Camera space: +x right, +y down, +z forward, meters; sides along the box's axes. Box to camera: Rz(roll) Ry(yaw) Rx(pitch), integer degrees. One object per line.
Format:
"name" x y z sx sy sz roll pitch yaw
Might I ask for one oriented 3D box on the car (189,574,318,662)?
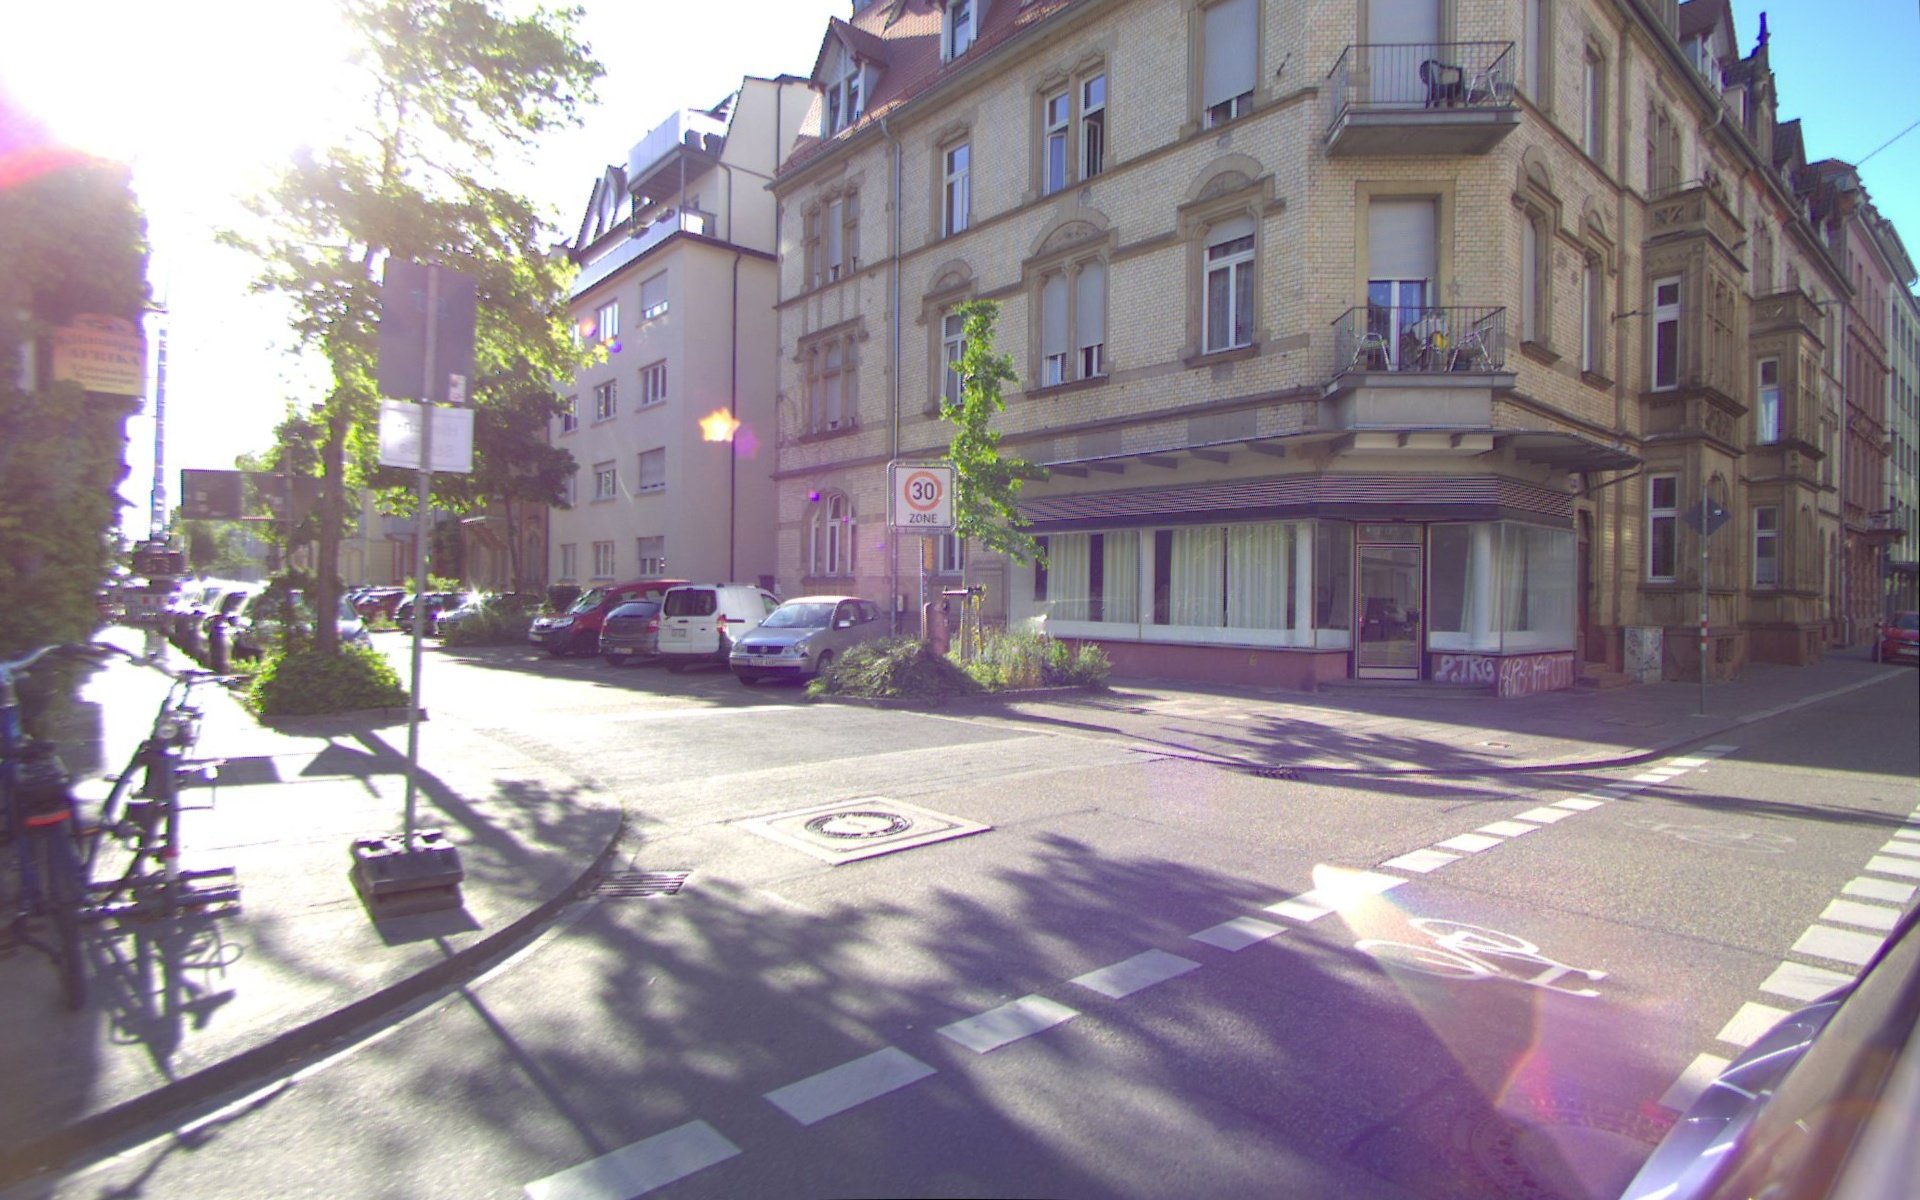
"car" -13.298 0.302 18.961 1.682 1.471 3.995 0 0 -39

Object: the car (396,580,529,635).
"car" -17.603 0.238 35.947 1.762 1.817 3.904 -1 0 37

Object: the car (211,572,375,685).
"car" -10.195 0.374 15.337 1.682 1.471 3.995 0 0 -39

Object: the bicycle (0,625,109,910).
"bicycle" -4.461 0.709 4.771 0.518 1.141 1.561 0 0 -34

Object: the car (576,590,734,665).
"car" -6.799 0.559 22.893 1.749 1.551 3.510 -1 0 18

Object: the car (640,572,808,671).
"car" -4.772 0.409 21.002 1.749 1.853 3.718 -1 0 18

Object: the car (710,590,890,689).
"car" -2.712 0.620 17.914 1.749 1.551 3.510 -1 0 18

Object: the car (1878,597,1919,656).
"car" 27.339 0.730 28.360 4.325 1.501 1.869 0 3 -42

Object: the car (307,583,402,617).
"car" -30.632 0.009 51.250 3.890 1.652 1.768 0 0 -43

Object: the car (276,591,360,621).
"car" -37.621 0.338 59.350 3.890 1.652 1.768 0 0 -43

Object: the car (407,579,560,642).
"car" -14.549 0.293 31.077 1.762 1.817 3.903 -1 0 37

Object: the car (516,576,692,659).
"car" -8.938 0.405 25.632 1.762 1.920 3.903 -1 0 37

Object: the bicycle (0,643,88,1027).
"bicycle" -3.482 0.753 3.617 0.542 1.141 1.399 0 0 -40

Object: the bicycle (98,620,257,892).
"bicycle" -3.931 0.689 5.165 0.541 1.141 1.561 0 0 -34

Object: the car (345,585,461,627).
"car" -23.223 0.234 42.285 1.762 1.652 3.904 -1 0 37
